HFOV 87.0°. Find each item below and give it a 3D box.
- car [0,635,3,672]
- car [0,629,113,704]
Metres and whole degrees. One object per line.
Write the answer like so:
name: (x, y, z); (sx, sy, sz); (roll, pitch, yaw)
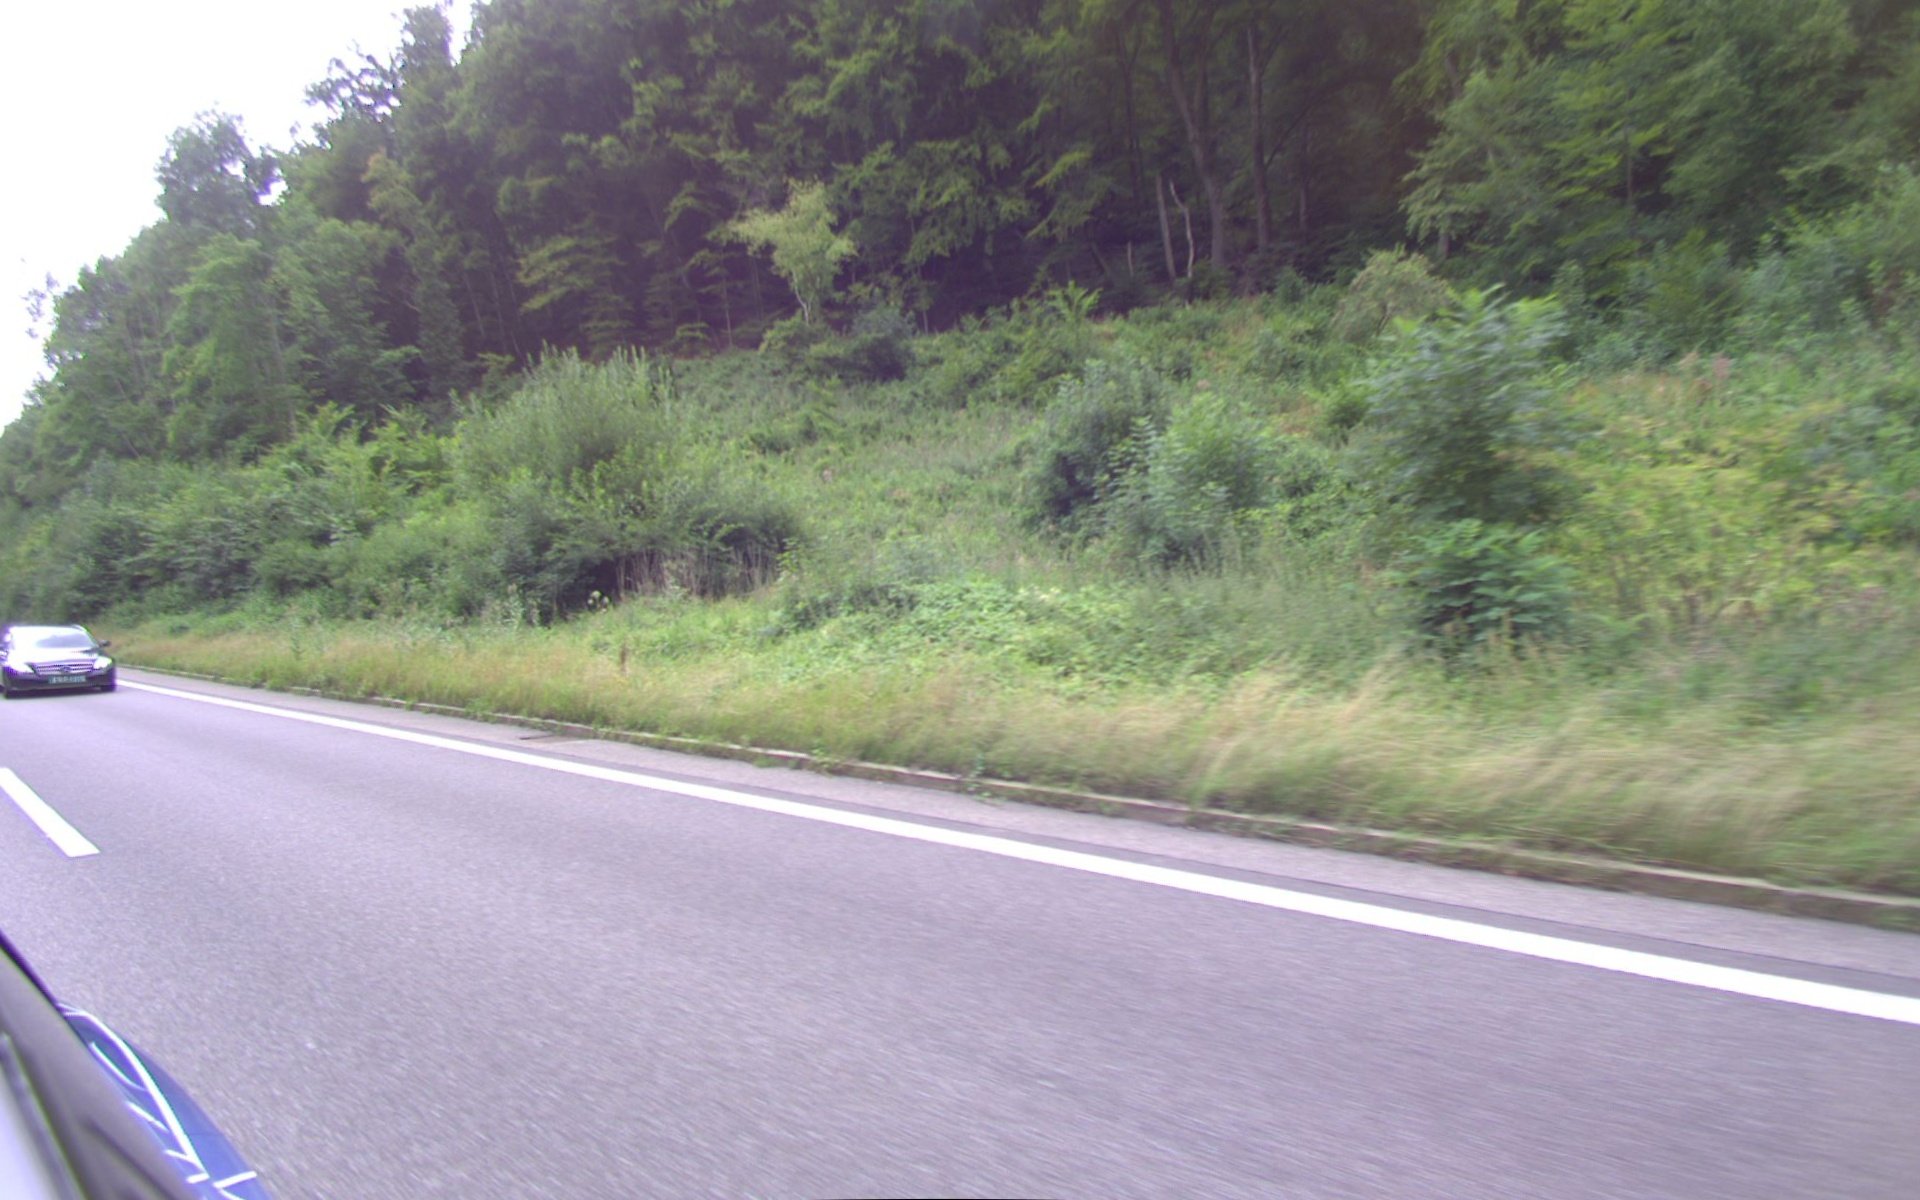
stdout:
car: (-40.670, 2.170, 41.186); (4.548, 1.480, 1.818); (-1, -1, 38)
car: (-20.474, 1.430, 22.676); (5.123, 1.474, 1.741); (-3, -2, 44)
